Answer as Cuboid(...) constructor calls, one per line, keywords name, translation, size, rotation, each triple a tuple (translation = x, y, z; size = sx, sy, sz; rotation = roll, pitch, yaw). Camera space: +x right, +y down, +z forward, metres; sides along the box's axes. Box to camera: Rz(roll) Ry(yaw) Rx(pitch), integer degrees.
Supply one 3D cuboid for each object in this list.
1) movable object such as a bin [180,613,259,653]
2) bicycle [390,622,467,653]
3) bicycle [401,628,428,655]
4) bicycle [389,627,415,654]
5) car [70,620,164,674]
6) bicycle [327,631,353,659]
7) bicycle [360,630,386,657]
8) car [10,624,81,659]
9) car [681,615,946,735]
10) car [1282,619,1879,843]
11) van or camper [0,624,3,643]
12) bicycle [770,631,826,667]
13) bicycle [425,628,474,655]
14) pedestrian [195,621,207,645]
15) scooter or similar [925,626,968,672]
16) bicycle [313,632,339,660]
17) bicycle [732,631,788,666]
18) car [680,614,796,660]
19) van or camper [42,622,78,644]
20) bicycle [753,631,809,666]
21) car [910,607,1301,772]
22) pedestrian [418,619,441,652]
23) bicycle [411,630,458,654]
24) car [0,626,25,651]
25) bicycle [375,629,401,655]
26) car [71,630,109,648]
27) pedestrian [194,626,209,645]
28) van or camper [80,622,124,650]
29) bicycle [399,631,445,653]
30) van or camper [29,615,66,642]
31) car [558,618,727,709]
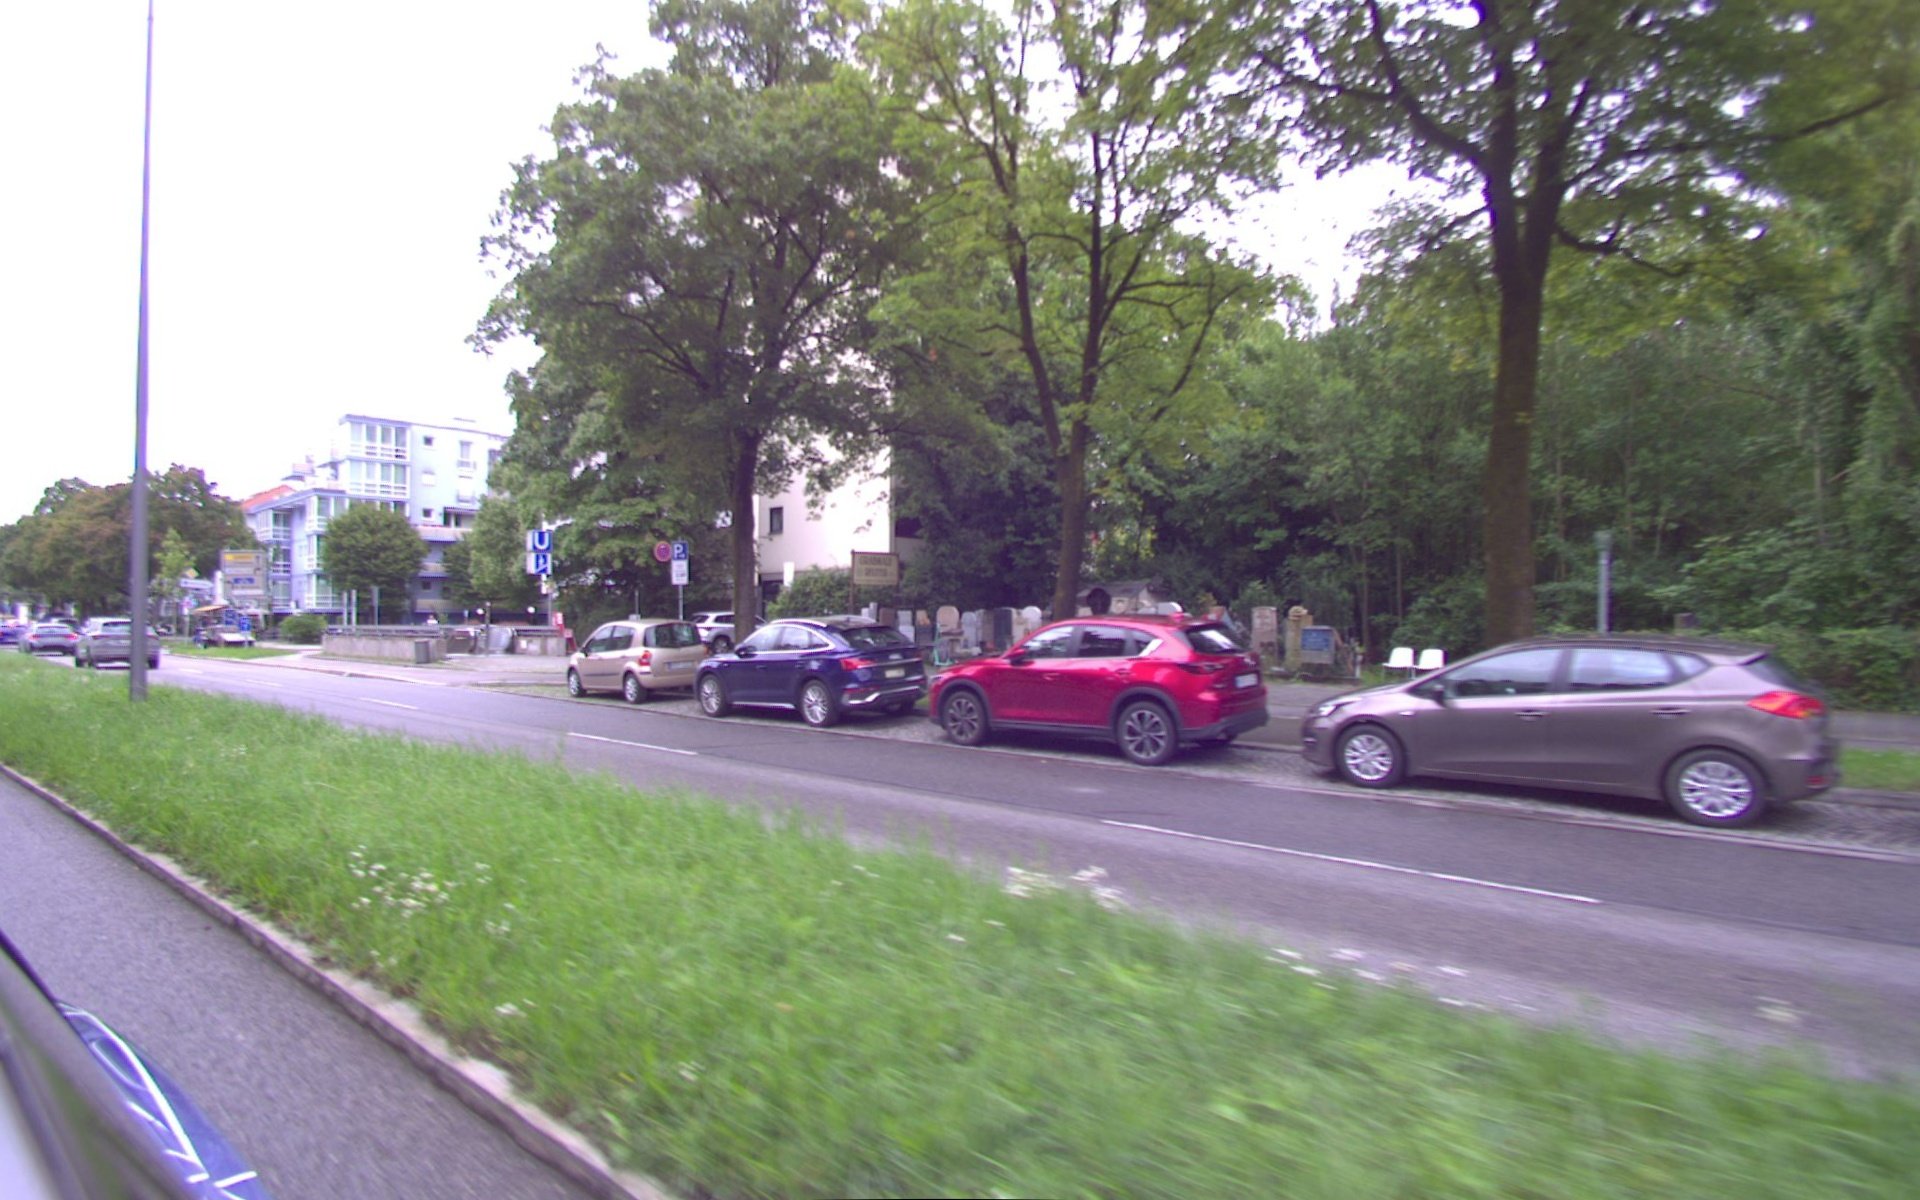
Cuboid(name="movable object such as a bin", translation=(-37.872, 1.702, 51.758), size=(3.993, 1.968, 2.173), rotation=(-1, -2, 37))
Cuboid(name="bicycle", translation=(-26.909, 1.892, 51.303), size=(3.289, 1.292, 0.788), rotation=(-4, 2, -44))
Cuboid(name="bicycle", translation=(-23.436, 1.772, 43.472), size=(0.403, 1.105, 1.955), rotation=(-4, 2, -45))
Cuboid(name="bicycle", translation=(-23.780, 1.731, 43.088), size=(0.403, 1.112, 1.955), rotation=(-4, 2, -45))
Cuboid(name="car", translation=(-27.192, 1.486, 32.596), size=(4.376, 1.637, 1.747), rotation=(-1, -3, 43))
Cuboid(name="bicycle", translation=(-25.280, 1.822, 41.257), size=(0.403, 1.086, 1.955), rotation=(-4, 2, -45))
Cuboid(name="bicycle", translation=(-24.457, 1.807, 42.144), size=(0.403, 1.080, 1.955), rotation=(-4, 2, -45))
Cuboid(name="car", translation=(-41.361, 1.858, 45.731), size=(4.864, 1.495, 1.894), rotation=(-1, -3, 43))
Cuboid(name="car", translation=(-2.518, 1.113, 16.466), size=(4.685, 1.656, 1.720), rotation=(-2, -1, 43))
Cuboid(name="car", translation=(5.360, 0.964, 9.154), size=(4.334, 1.494, 1.720), rotation=(-2, 0, 43))
Cuboid(name="van or camper", translation=(-104.893, 3.579, 109.215), size=(5.198, 2.031, 1.993), rotation=(-1, -3, 43))
Cuboid(name="bicycle", translation=(-4.759, 1.431, 29.780), size=(0.436, 1.014, 1.743), rotation=(-2, -2, 42))
Cuboid(name="bicycle", translation=(-23.734, 1.925, 47.092), size=(1.925, 1.111, 0.560), rotation=(-4, 2, -44))
Cuboid(name="pedestrian", translation=(-58.591, 2.554, 78.146), size=(0.633, 1.819, 0.782), rotation=(2, -2, -35))
Cuboid(name="scooter or similar", translation=(-0.350, 1.235, 25.566), size=(0.429, 1.135, 1.293), rotation=(1, -2, -35))
Cuboid(name="bicycle", translation=(-25.599, 1.838, 40.842), size=(0.403, 1.097, 2.085), rotation=(-4, 2, -45))
Cuboid(name="bicycle", translation=(-6.027, 1.451, 30.610), size=(0.436, 1.014, 1.743), rotation=(-2, -2, 42))
Cuboid(name="car", translation=(-8.212, 1.360, 37.656), size=(1.749, 1.601, 3.942), rotation=(-2, -2, 44))
Cuboid(name="van or camper", translation=(-81.679, 2.968, 91.830), size=(4.704, 1.957, 1.998), rotation=(-2, -2, 43))
Cuboid(name="bicycle", translation=(-5.317, 1.439, 30.102), size=(0.436, 1.014, 1.743), rotation=(-2, -2, 42))
Cuboid(name="car", translation=(1.646, 0.974, 12.604), size=(4.604, 1.664, 1.721), rotation=(-2, 0, 41))
Cuboid(name="pedestrian", translation=(-27.956, 1.870, 53.311), size=(1.129, 1.721, 0.662), rotation=(-1, -2, 37))
Cuboid(name="bicycle", translation=(-25.251, 2.004, 48.680), size=(1.925, 1.112, 0.489), rotation=(2, -2, -44))
Cuboid(name="car", translation=(-56.309, 2.266, 59.441), size=(3.966, 1.413, 1.673), rotation=(-1, -2, 42))
Cuboid(name="bicycle", translation=(-24.078, 1.750, 42.579), size=(0.403, 1.038, 1.955), rotation=(-4, 2, -45))
Cuboid(name="car", translation=(-67.381, 3.011, 78.357), size=(4.333, 1.405, 1.658), rotation=(-1, -3, 41))
Cuboid(name="pedestrian", translation=(-64.908, 3.029, 86.632), size=(0.960, 1.615, 0.769), rotation=(2, -3, -37))
Cuboid(name="van or camper", translation=(-62.816, 2.605, 74.064), size=(5.210, 1.983, 1.785), rotation=(-1, -3, 43))
Cuboid(name="bicycle", translation=(-26.778, 2.079, 50.389), size=(1.925, 1.112, 0.560), rotation=(2, -2, -44))
Cuboid(name="van or camper", translation=(-88.673, 2.784, 98.282), size=(5.547, 2.506, 2.028), rotation=(-1, -3, 42))
Cuboid(name="car", translation=(-6.436, 1.203, 20.309), size=(3.820, 1.626, 1.628), rotation=(-2, -1, 45))
